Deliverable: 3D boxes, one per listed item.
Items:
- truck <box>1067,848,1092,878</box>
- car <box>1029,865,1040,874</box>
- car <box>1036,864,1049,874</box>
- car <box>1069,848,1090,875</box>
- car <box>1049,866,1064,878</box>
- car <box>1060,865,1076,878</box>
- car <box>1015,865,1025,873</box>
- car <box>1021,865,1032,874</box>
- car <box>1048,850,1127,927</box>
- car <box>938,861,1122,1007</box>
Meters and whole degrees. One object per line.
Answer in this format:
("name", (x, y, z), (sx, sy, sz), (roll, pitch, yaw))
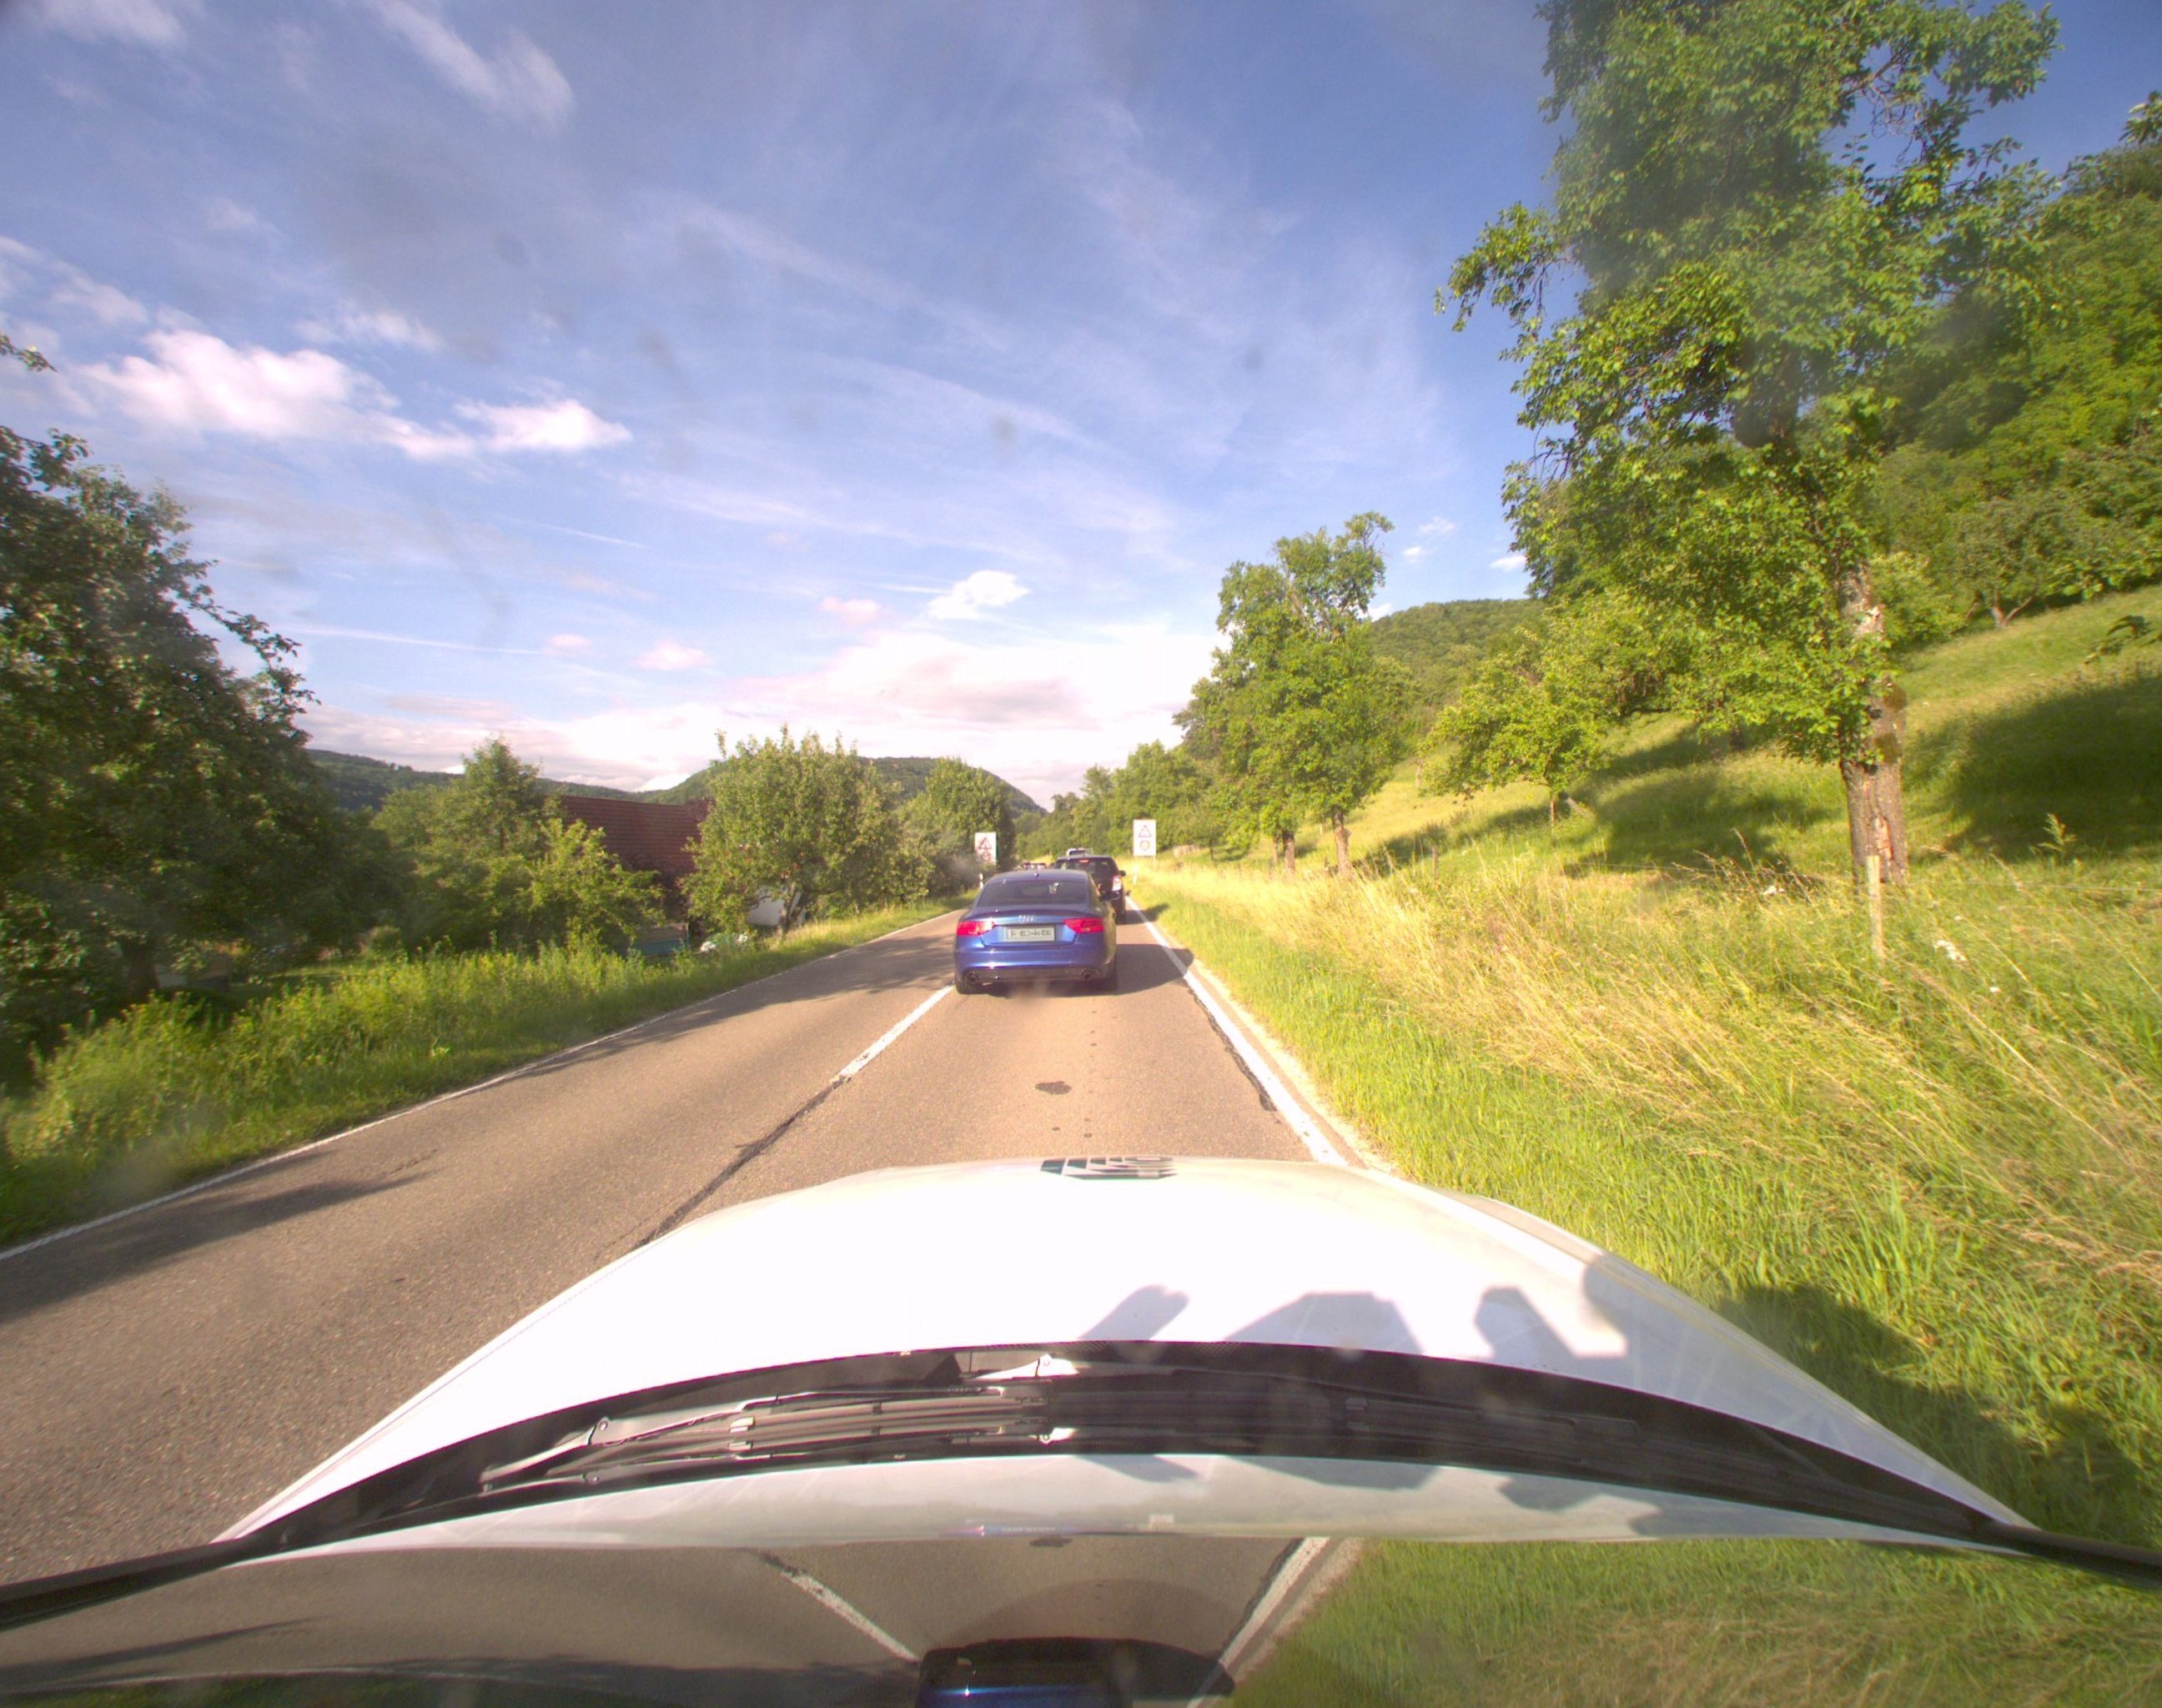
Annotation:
("truck", (-0.122, 0.689, 66.983), (1.943, 2.345, 5.093), (1, 0, 0))
("car", (-8.124, 2.757, 142.193), (1.559, 1.496, 3.765), (1, 0, -10))
("car", (-6.399, 2.504, 134.142), (1.748, 1.496, 3.766), (1, 0, -10))
("car", (-0.162, 0.709, 76.639), (1.787, 2.453, 3.916), (1, 0, -2))
("car", (-3.366, 2.444, 112.660), (1.746, 1.496, 3.768), (1, 0, -7))
("car", (-1.572, 2.090, 98.232), (1.745, 1.496, 3.772), (1, 0, -5))
("car", (-11.917, 2.873, 158.666), (1.559, 1.496, 3.763), (1, 0, -11))
("car", (-10.083, 2.887, 150.414), (1.560, 1.496, 3.762), (1, 0, -12))
("car", (0.177, 0.736, 19.281), (1.687, 1.624, 3.790), (0, 0, 1))
("car", (-0.458, 0.826, 10.287), (1.799, 1.382, 4.216), (-2, 0, 1))
